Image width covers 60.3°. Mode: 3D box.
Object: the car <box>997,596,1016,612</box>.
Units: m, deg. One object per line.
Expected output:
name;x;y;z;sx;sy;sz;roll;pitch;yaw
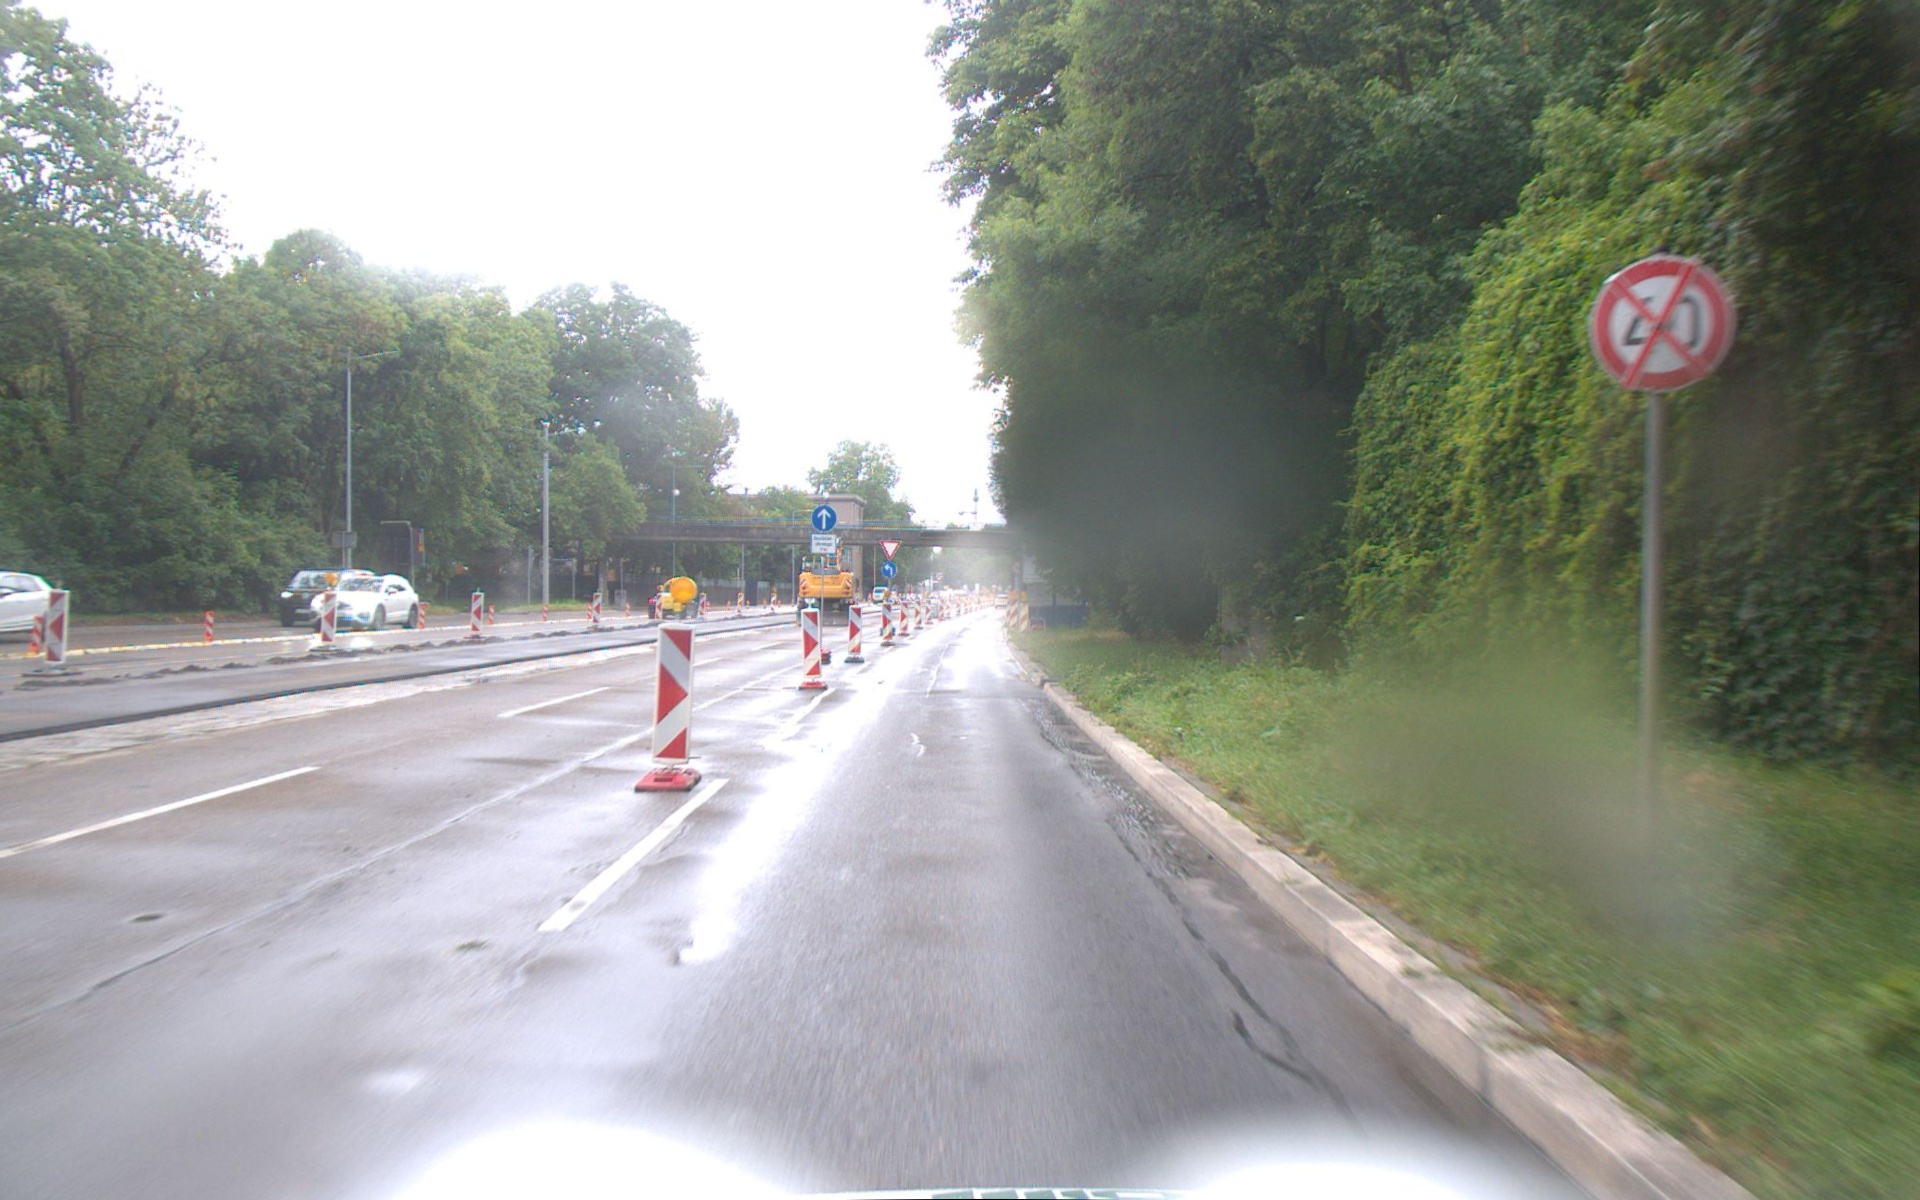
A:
car;5.081;0.428;180.564;1.952;1.668;4.001;0;0;2

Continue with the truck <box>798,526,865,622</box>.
truck;-6.211;-1.234;81.304;2.839;4.333;10.750;1;0;-3

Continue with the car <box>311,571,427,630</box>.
car;-18.021;-0.001;50.681;1.851;1.690;4.892;1;0;-1

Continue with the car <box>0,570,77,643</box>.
car;-20.911;0.140;35.564;1.645;1.522;4.148;0;0;-1
